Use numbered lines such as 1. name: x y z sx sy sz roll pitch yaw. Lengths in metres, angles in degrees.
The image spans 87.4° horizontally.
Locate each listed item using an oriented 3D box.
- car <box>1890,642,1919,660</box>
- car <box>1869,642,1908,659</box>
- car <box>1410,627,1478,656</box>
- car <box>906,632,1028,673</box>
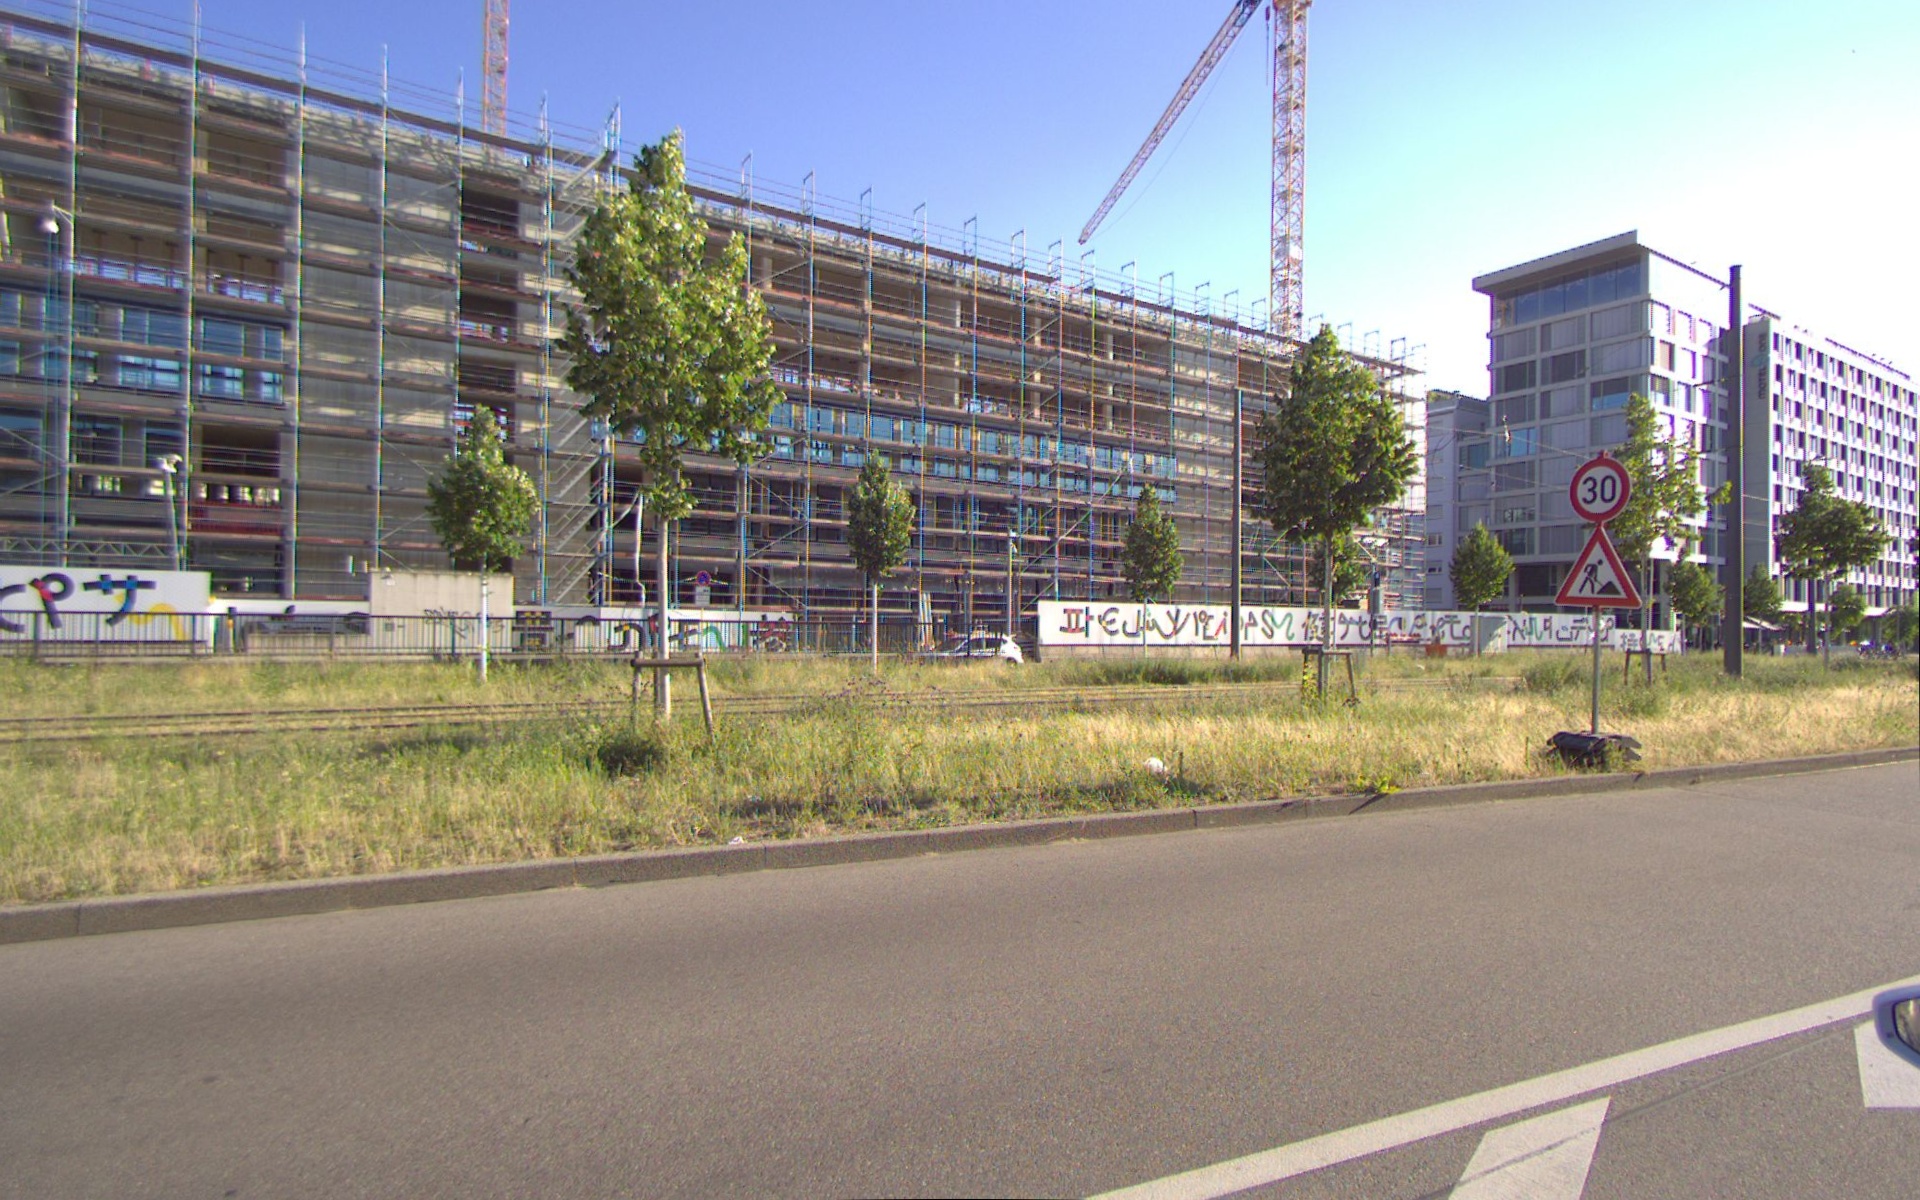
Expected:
1. car: 83.585 4.466 88.419 3.543 1.461 1.699 2 0 -32
2. car: 84.043 4.573 90.893 3.543 1.461 1.699 2 0 -32
3. car: 26.125 2.263 54.214 3.543 1.461 1.699 2 0 -32
4. car: 0.261 1.813 34.948 4.045 1.327 1.520 1 -1 -30
